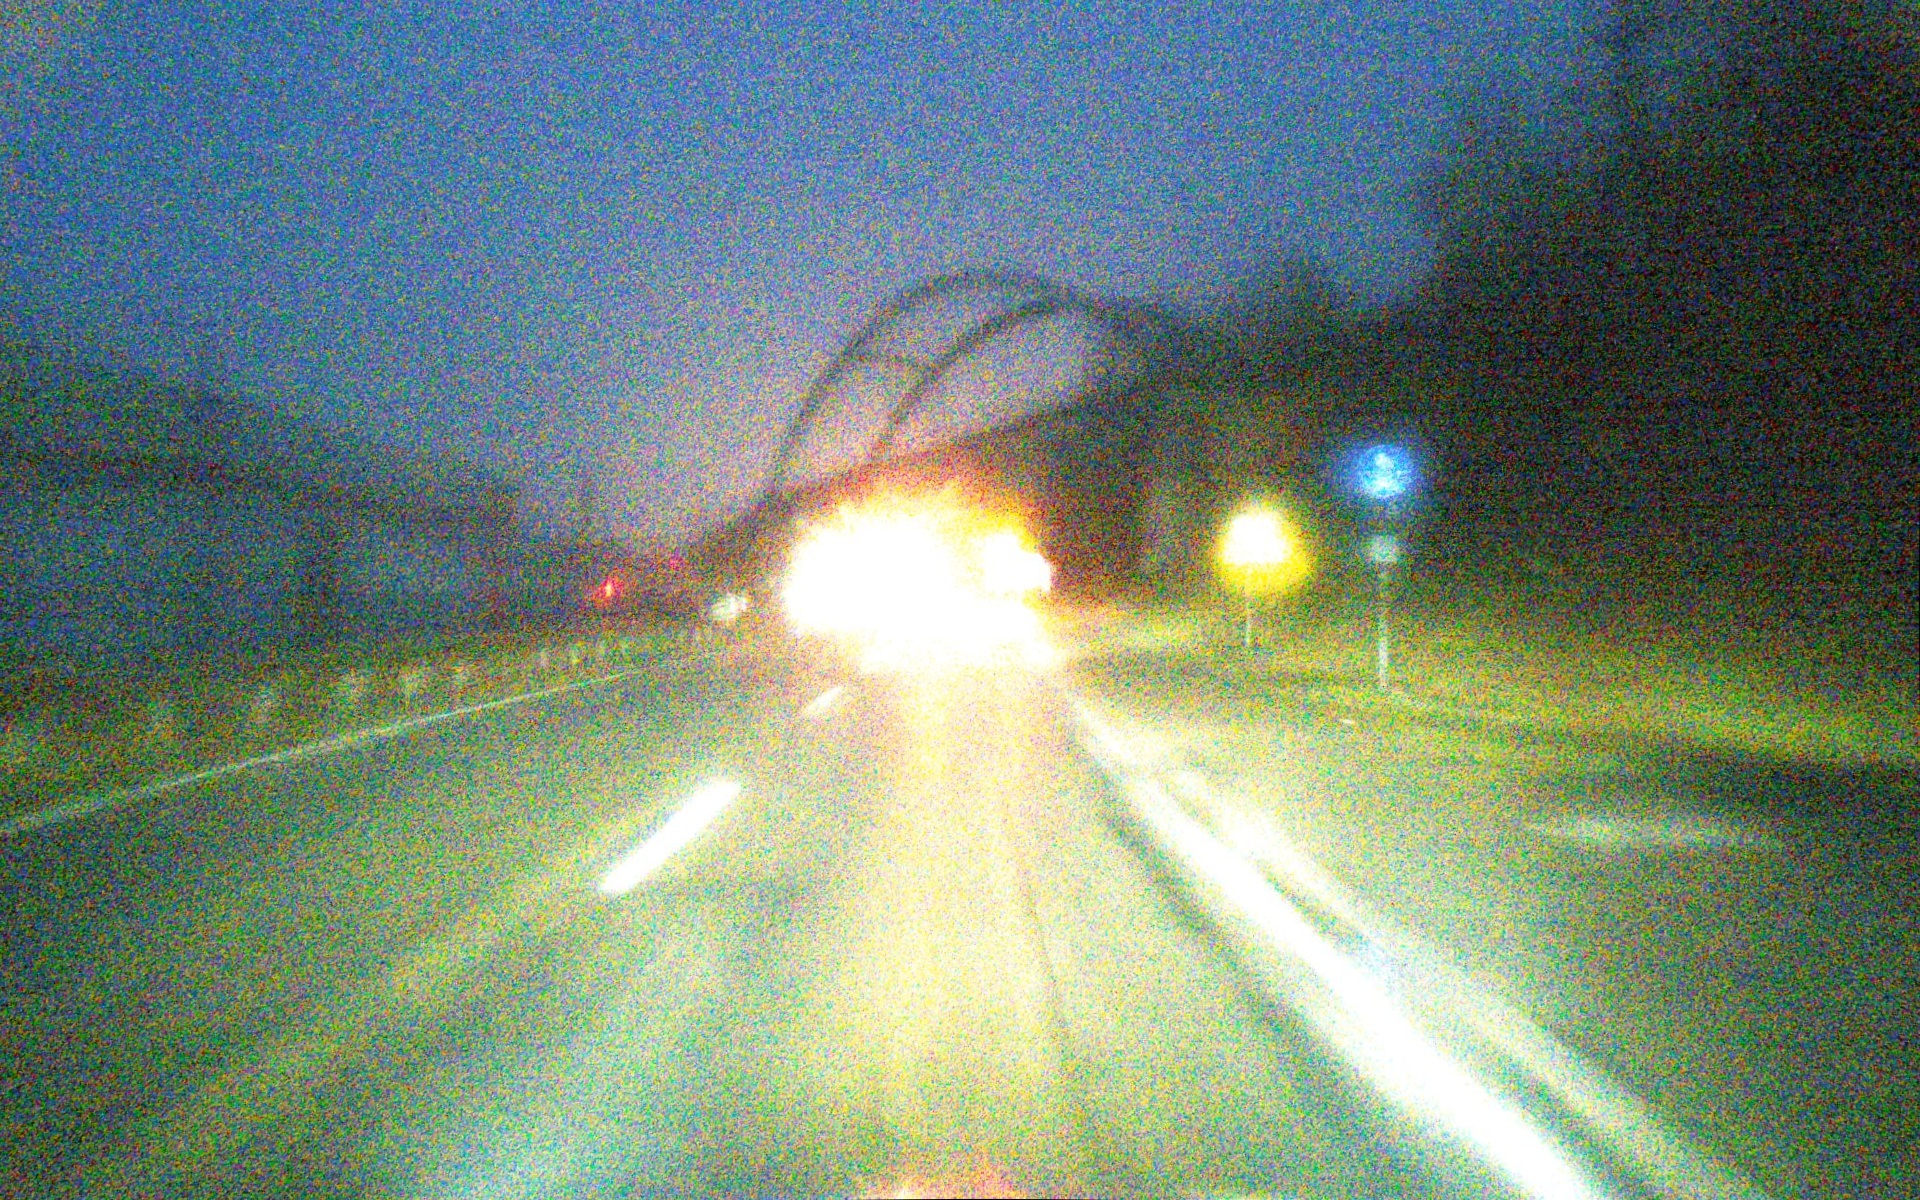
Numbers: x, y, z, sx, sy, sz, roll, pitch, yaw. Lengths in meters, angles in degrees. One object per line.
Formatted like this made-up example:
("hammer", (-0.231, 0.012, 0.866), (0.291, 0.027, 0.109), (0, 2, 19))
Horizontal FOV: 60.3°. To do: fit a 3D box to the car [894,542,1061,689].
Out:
("car", (0.257, 0.200, 29.670), (2.660, 2.348, 6.100), (0, 1, -1))
